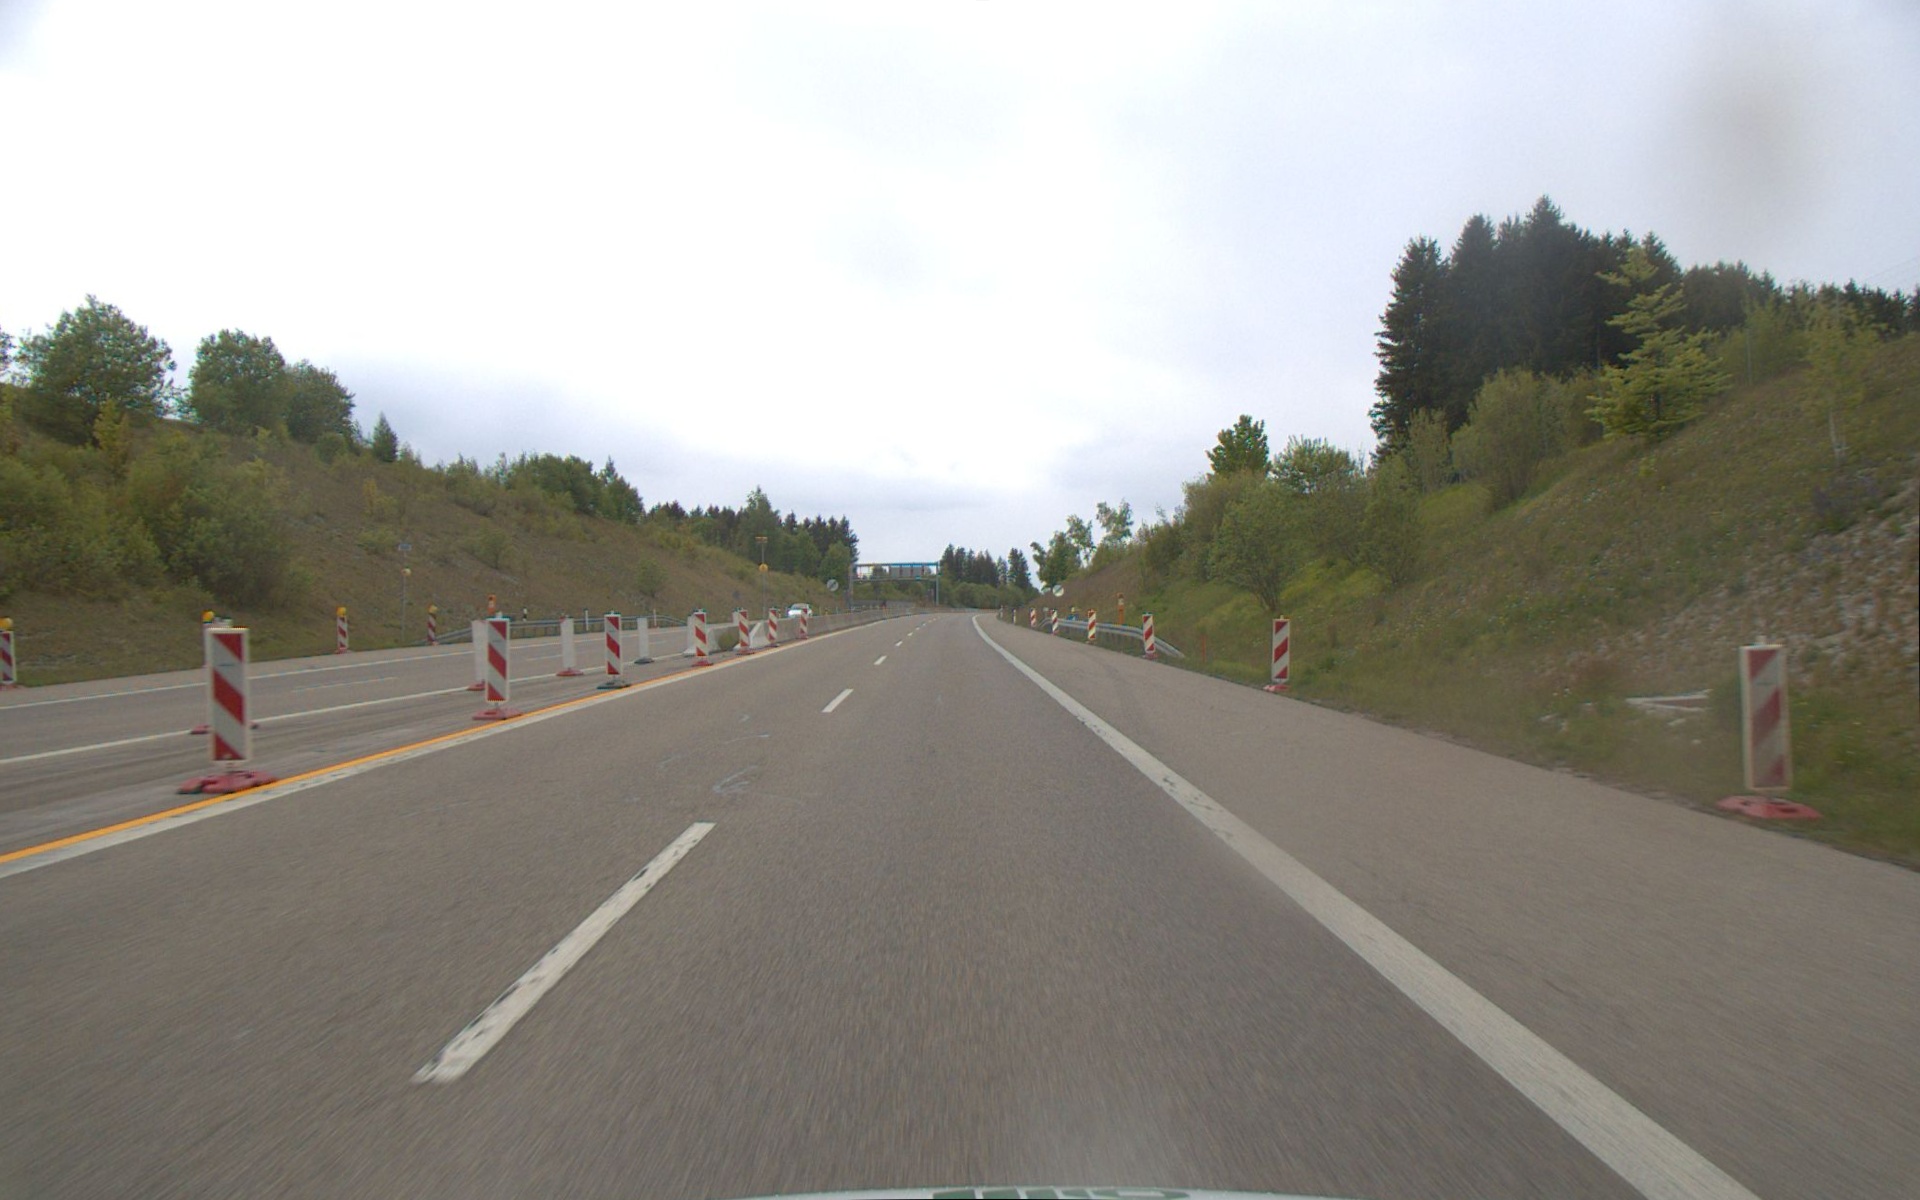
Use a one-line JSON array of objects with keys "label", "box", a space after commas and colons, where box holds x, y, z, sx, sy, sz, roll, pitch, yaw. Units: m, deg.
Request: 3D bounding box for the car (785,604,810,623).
[{"label": "car", "box": [-14.658, 1.211, 149.378, 1.875, 1.629, 4.165, -1, -1, -1]}]
